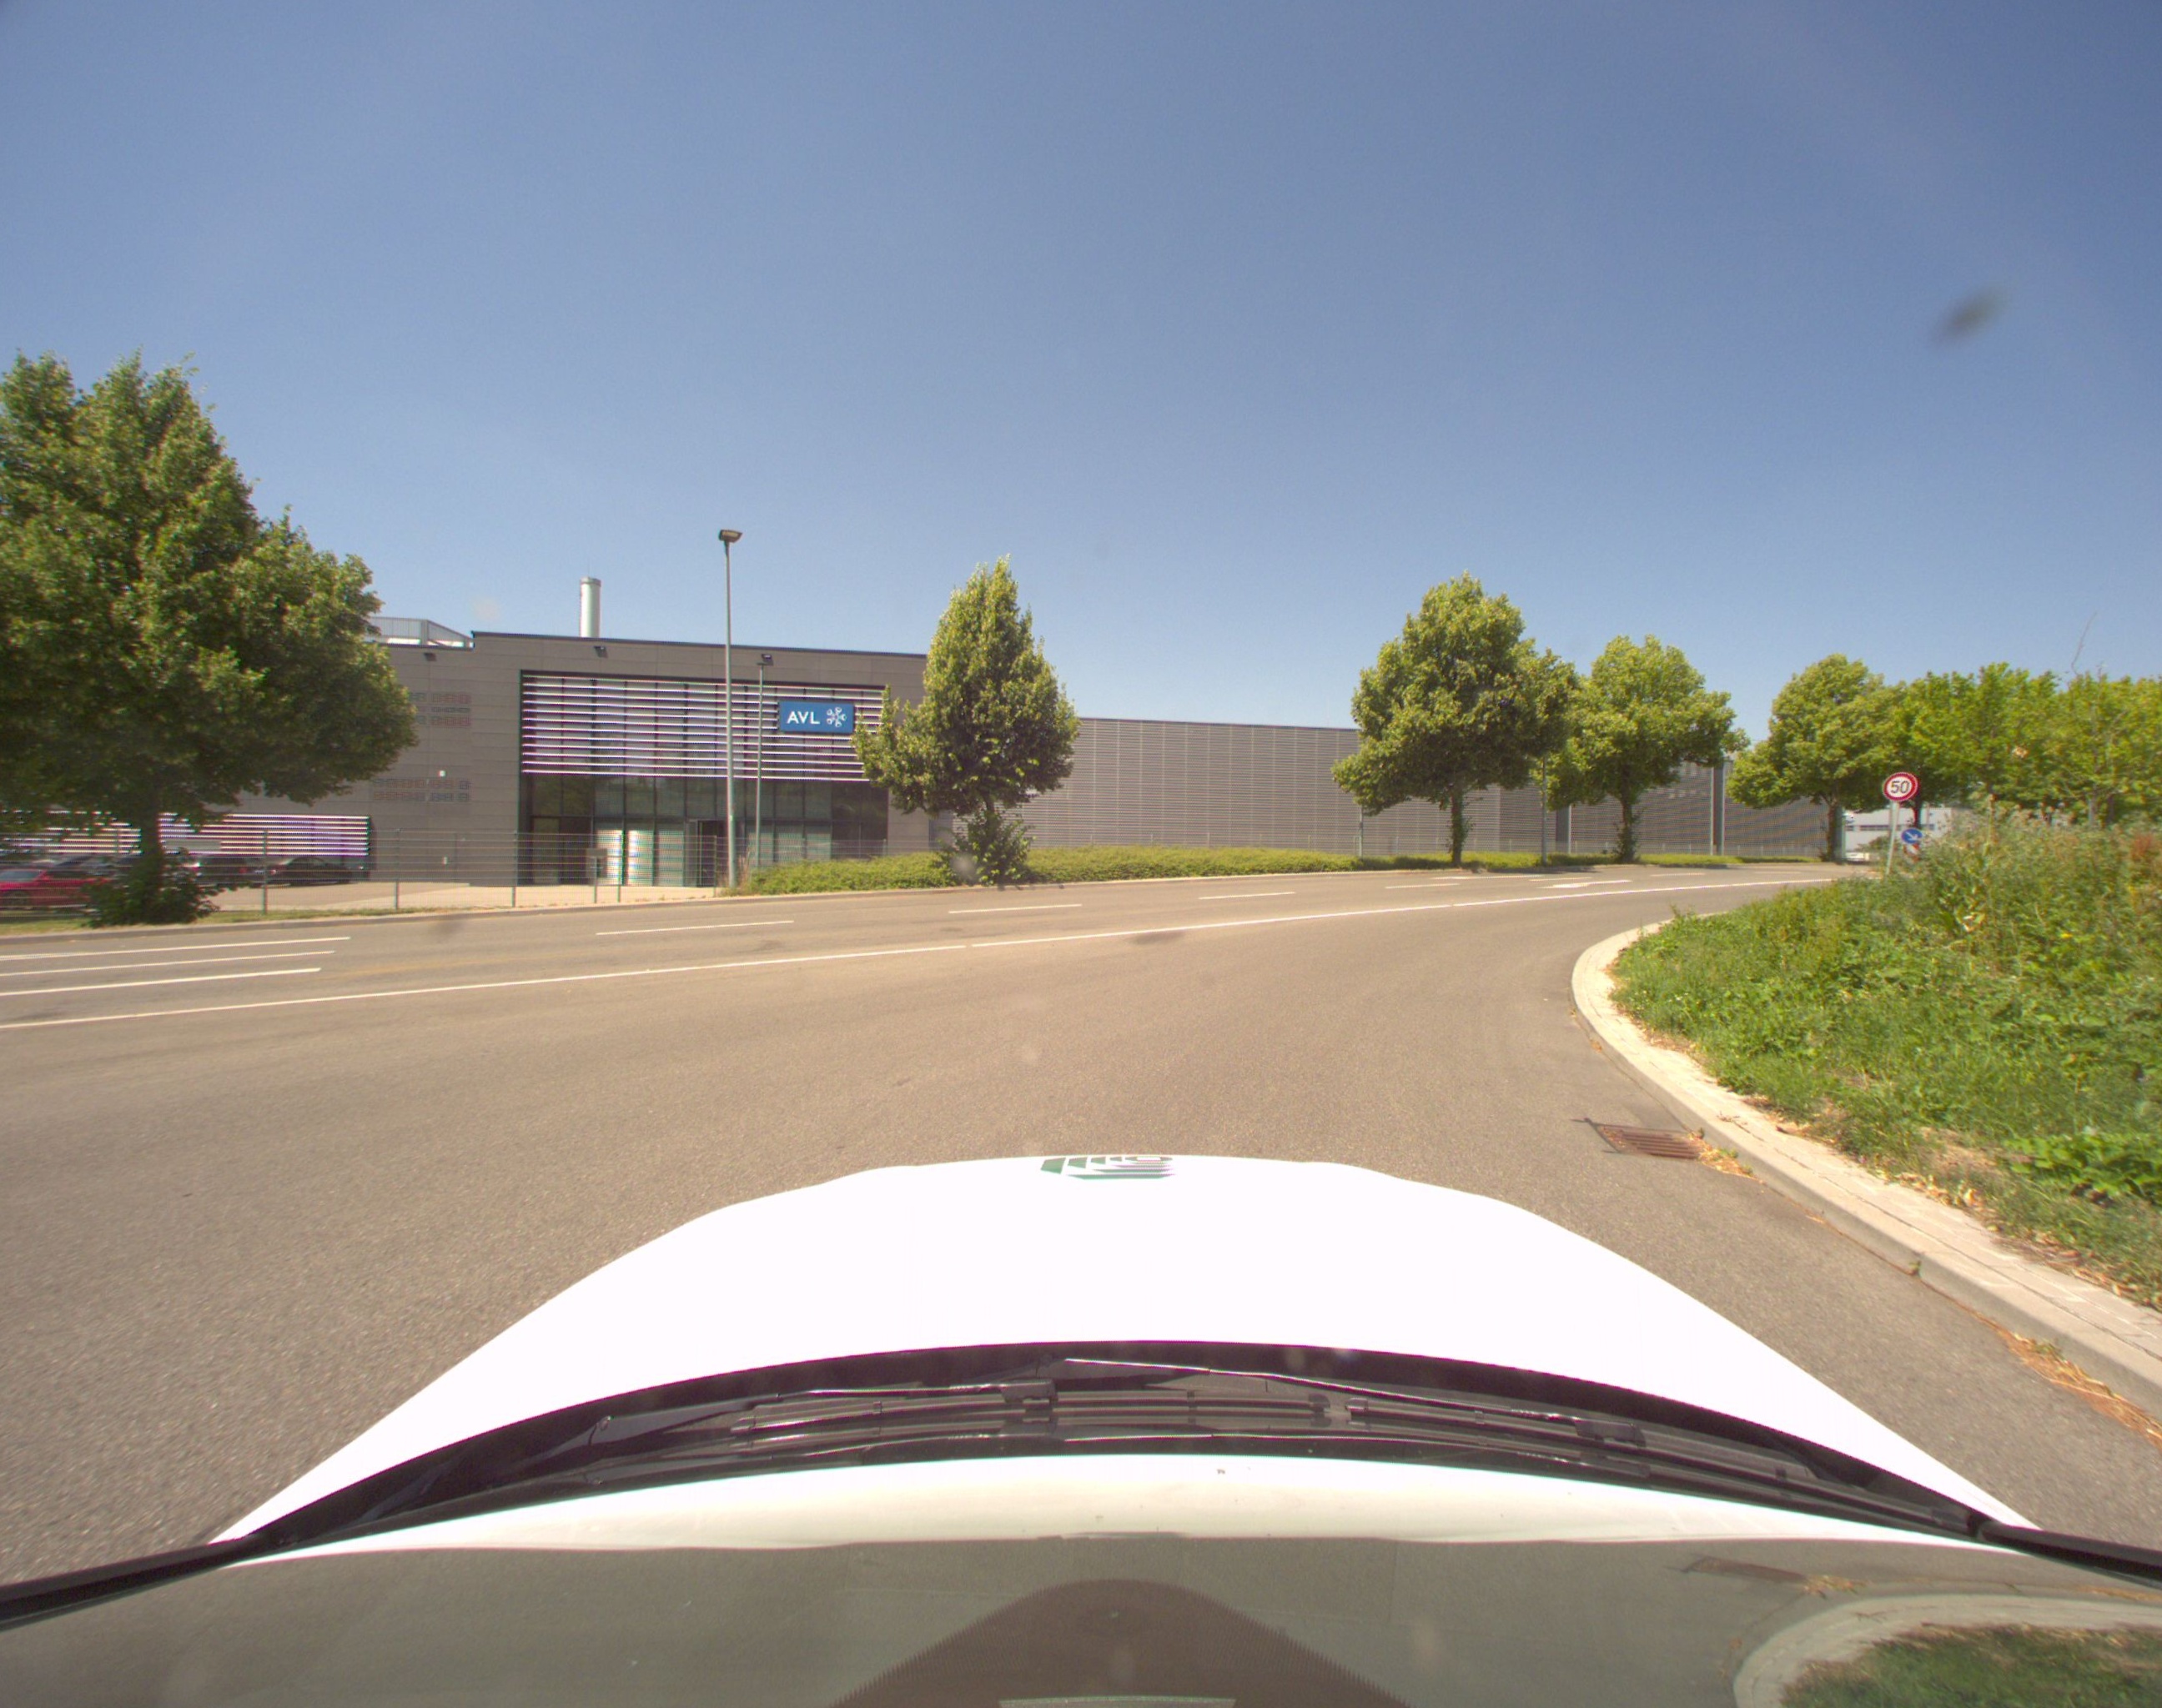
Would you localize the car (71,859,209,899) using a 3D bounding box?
[{"bbox_3d":[-40.321,1.011,35.063,1.816,1.528,3.982,-3,0,-13],"label":"car"}]

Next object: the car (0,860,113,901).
[{"bbox_3d":[-44.649,1.104,34.924,1.916,1.516,3.983,-3,2,-13],"label":"car"}]

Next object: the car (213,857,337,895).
[{"bbox_3d":[-35.296,0.905,35.827,1.996,1.486,3.982,-3,0,-13],"label":"car"}]

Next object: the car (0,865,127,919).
[{"bbox_3d":[-31.902,1.139,24.559,1.996,1.486,3.982,-3,0,-13],"label":"car"}]

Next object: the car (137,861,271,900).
[{"bbox_3d":[-37.987,1.100,35.431,1.996,1.486,3.982,-3,0,-13],"label":"car"}]
